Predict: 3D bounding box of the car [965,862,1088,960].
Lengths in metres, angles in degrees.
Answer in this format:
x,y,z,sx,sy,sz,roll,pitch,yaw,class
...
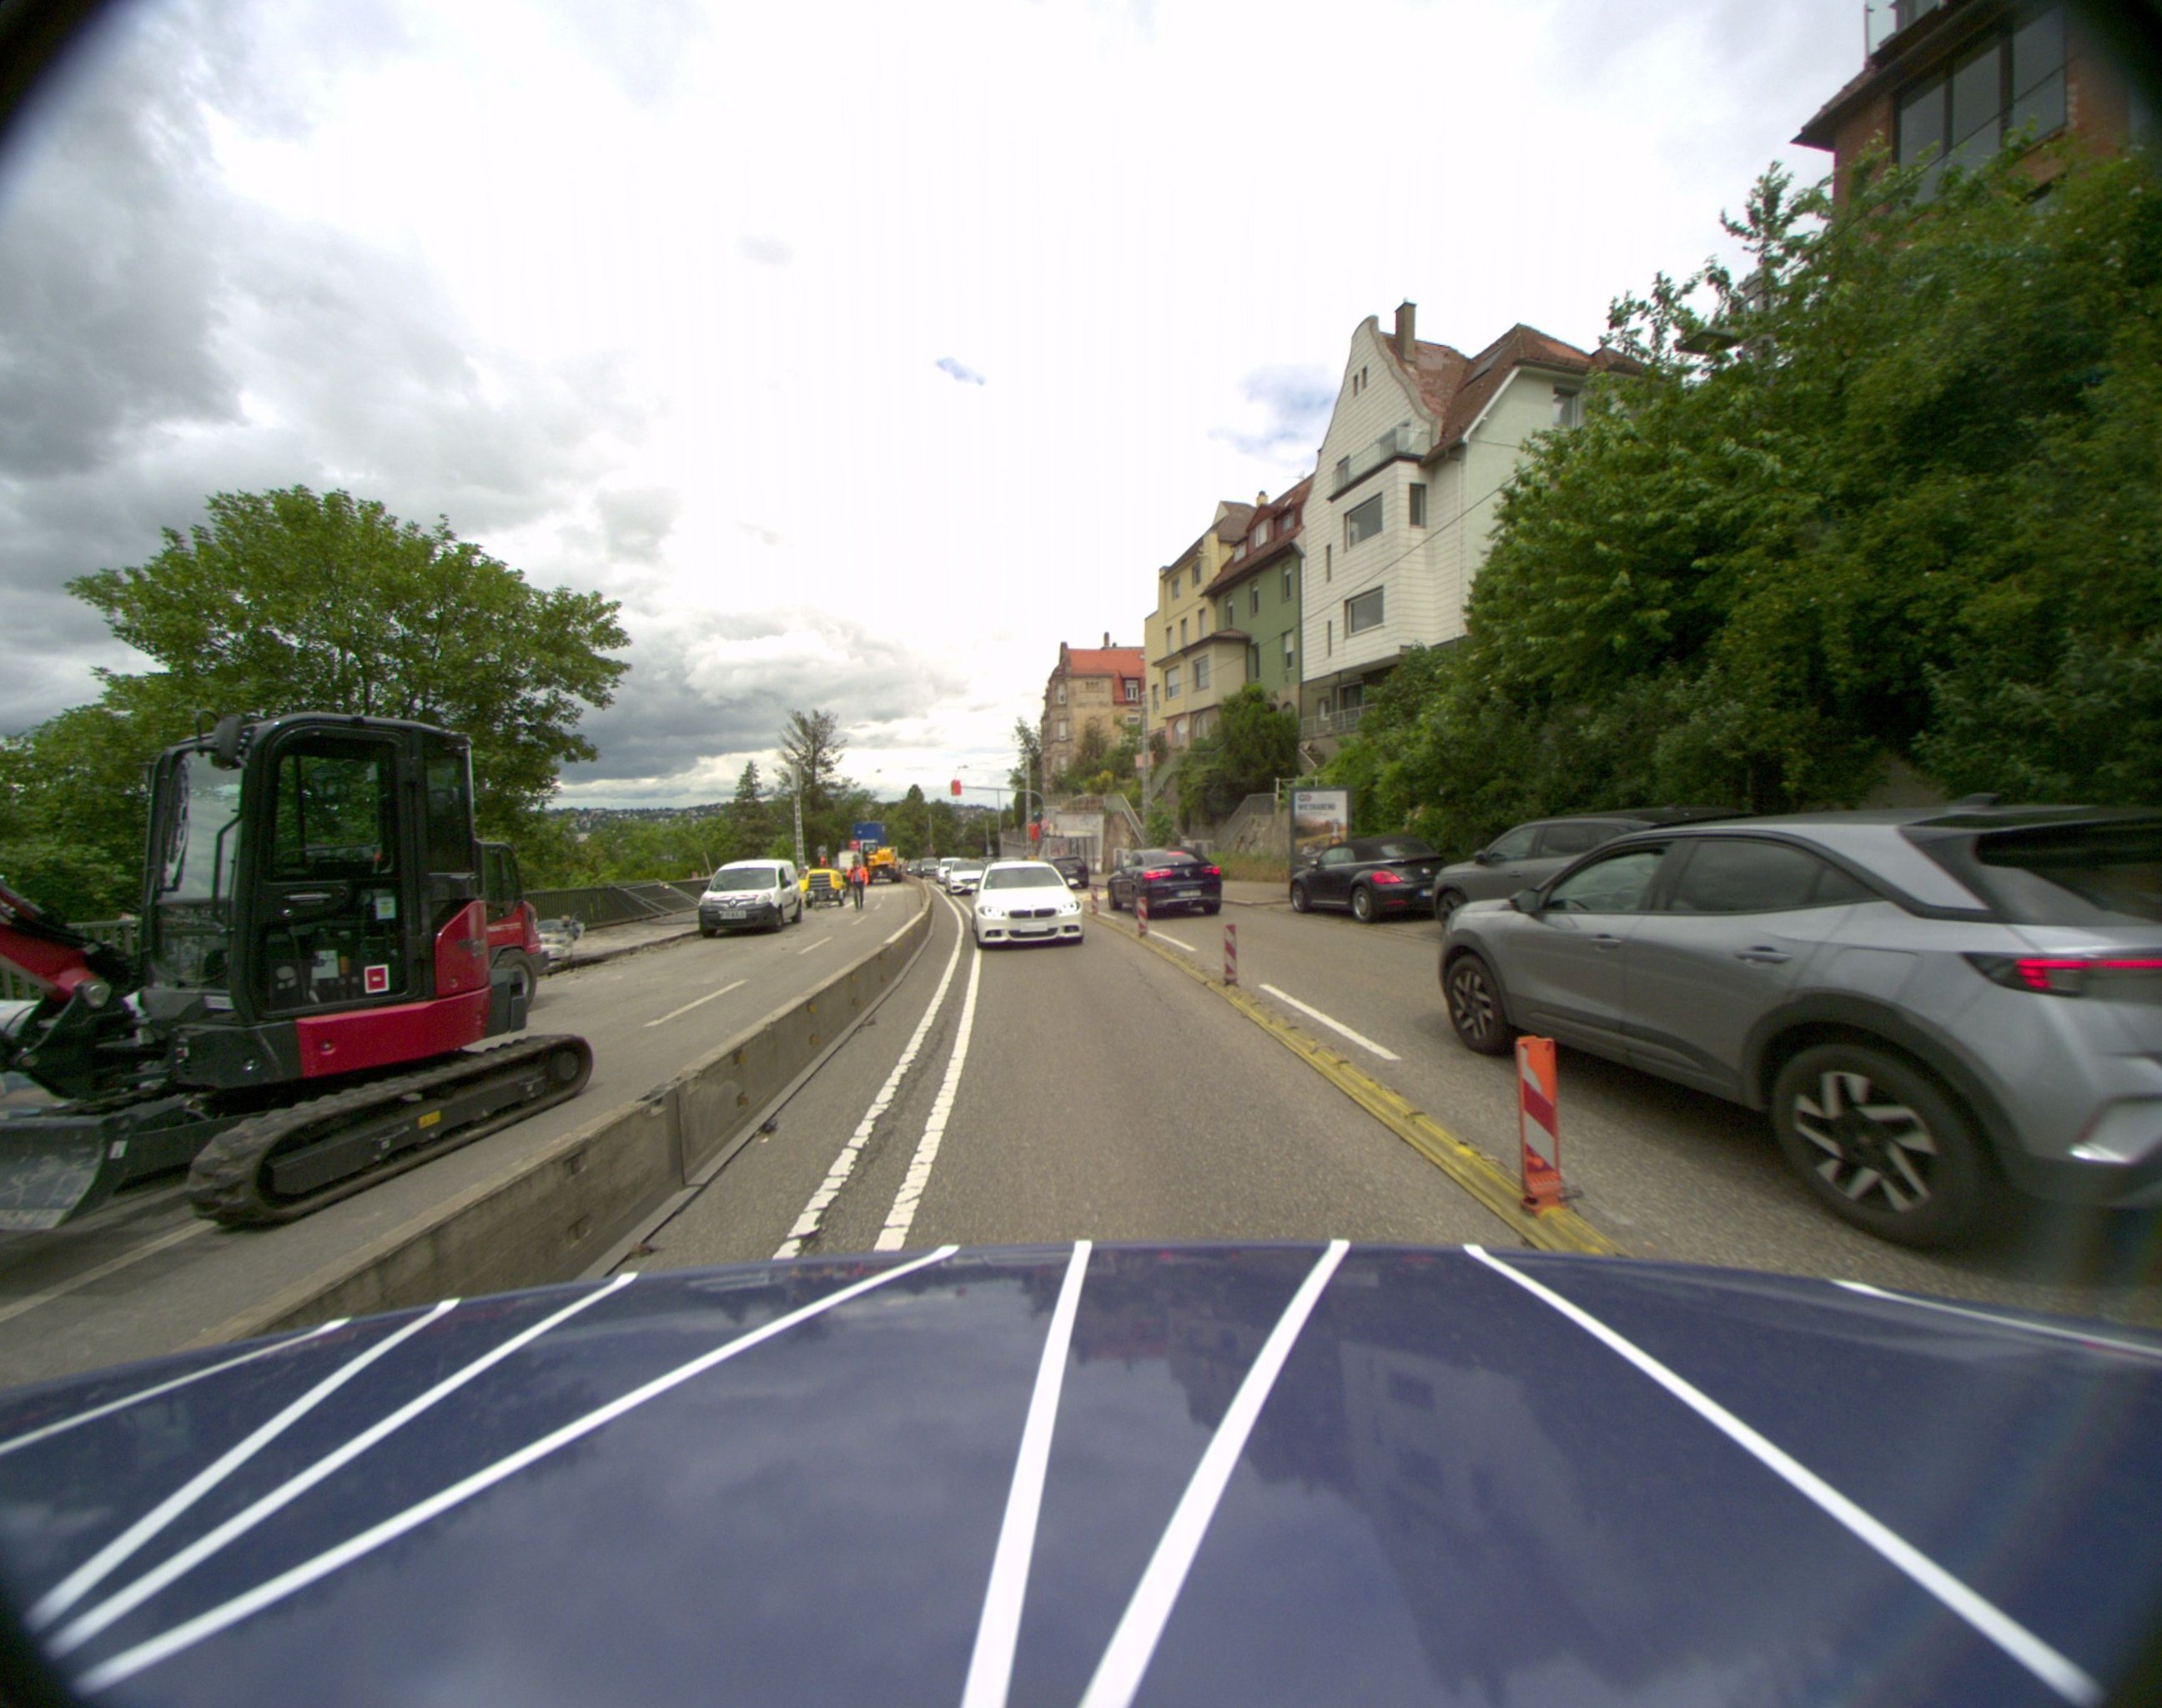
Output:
x,y,z,sx,sy,sz,roll,pitch,yaw,class
-1.189,0.931,14.400,1.794,1.472,4.240,-3,0,-11,car

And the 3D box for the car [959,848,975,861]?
x,y,z,sx,sy,sz,roll,pitch,yaw,class
-15.214,0.104,101.331,1.847,1.590,4.261,-2,0,-6,car

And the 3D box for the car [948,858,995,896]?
x,y,z,sx,sy,sz,roll,pitch,yaw,class
-4.852,0.948,33.177,1.794,1.472,4.240,-3,0,-11,car

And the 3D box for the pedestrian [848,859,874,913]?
x,y,z,sx,sy,sz,roll,pitch,yaw,class
-7.133,1.026,24.650,0.647,1.692,0.849,-4,1,-14,pedestrian

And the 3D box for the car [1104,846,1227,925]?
x,y,z,sx,sy,sz,roll,pitch,yaw,class
1.870,0.676,18.147,1.773,1.558,4.226,-3,0,-9,car

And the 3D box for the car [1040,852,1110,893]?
x,y,z,sx,sy,sz,roll,pitch,yaw,class
-0.345,0.687,31.096,1.802,1.438,4.356,-4,1,-14,car

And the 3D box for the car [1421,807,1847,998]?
x,y,z,sx,sy,sz,roll,pitch,yaw,class
6.006,0.424,9.026,1.691,1.597,4.184,-5,1,-5,car

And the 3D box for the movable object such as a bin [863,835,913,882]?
x,y,z,sx,sy,sz,roll,pitch,yaw,class
-14.324,0.335,55.972,2.822,3.053,7.811,-3,1,-18,movable object such as a bin

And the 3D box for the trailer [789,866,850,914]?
x,y,z,sx,sy,sz,roll,pitch,yaw,class
-9.237,1.217,27.055,1.292,1.466,3.631,-3,0,-8,trailer

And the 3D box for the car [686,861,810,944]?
x,y,z,sx,sy,sz,roll,pitch,yaw,class
-8.282,1.101,19.343,1.839,1.769,4.264,-3,0,-10,car

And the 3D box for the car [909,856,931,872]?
x,y,z,sx,sy,sz,roll,pitch,yaw,class
-15.909,0.935,74.839,1.801,1.501,3.994,0,1,-16,car

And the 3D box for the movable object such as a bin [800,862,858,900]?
x,y,z,sx,sy,sz,roll,pitch,yaw,class
-12.495,1.254,38.176,2.383,1.552,7.089,-3,1,-16,movable object such as a bin

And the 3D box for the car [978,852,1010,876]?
x,y,z,sx,sy,sz,roll,pitch,yaw,class
-6.475,0.725,56.078,1.821,1.613,3.814,-4,1,-13,car

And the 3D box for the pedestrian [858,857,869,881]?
x,y,z,sx,sy,sz,roll,pitch,yaw,class
-16.509,1.144,57.695,0.692,1.784,0.538,-3,0,-26,pedestrian

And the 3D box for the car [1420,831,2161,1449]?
x,y,z,sx,sy,sz,roll,pitch,yaw,class
3.542,0.705,3.797,1.772,1.509,4.025,-3,0,-1,car

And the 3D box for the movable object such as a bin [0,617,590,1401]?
x,y,z,sx,sy,sz,roll,pitch,yaw,class
-4.757,0.555,2.918,2.217,2.647,4.945,-3,0,3,movable object such as a bin

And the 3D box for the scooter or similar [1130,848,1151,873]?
x,y,z,sx,sy,sz,roll,pitch,yaw,class
2.985,0.340,38.057,0.461,1.198,1.433,-5,1,-17,scooter or similar

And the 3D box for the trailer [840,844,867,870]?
x,y,z,sx,sy,sz,roll,pitch,yaw,class
-22.774,0.301,76.253,2.114,2.535,5.114,0,0,-11,trailer

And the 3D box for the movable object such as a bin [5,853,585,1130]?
x,y,z,sx,sy,sz,roll,pitch,yaw,class
-7.099,1.002,7.666,1.706,1.931,4.162,-3,0,-6,movable object such as a bin

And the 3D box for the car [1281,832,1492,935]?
x,y,z,sx,sy,sz,roll,pitch,yaw,class
5.474,0.464,14.256,1.800,1.501,3.997,-5,1,-9,car

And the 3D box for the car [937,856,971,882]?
x,y,z,sx,sy,sz,roll,pitch,yaw,class
-8.013,0.927,47.799,1.794,1.542,4.240,-2,0,-14,car

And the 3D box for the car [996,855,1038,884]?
x,y,z,sx,sy,sz,roll,pitch,yaw,class
-3.802,0.856,44.604,1.802,1.473,4.323,-4,1,-13,car

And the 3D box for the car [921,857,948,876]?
x,y,z,sx,sy,sz,roll,pitch,yaw,class
-11.905,0.984,61.456,1.801,1.501,3.994,0,1,-16,car
